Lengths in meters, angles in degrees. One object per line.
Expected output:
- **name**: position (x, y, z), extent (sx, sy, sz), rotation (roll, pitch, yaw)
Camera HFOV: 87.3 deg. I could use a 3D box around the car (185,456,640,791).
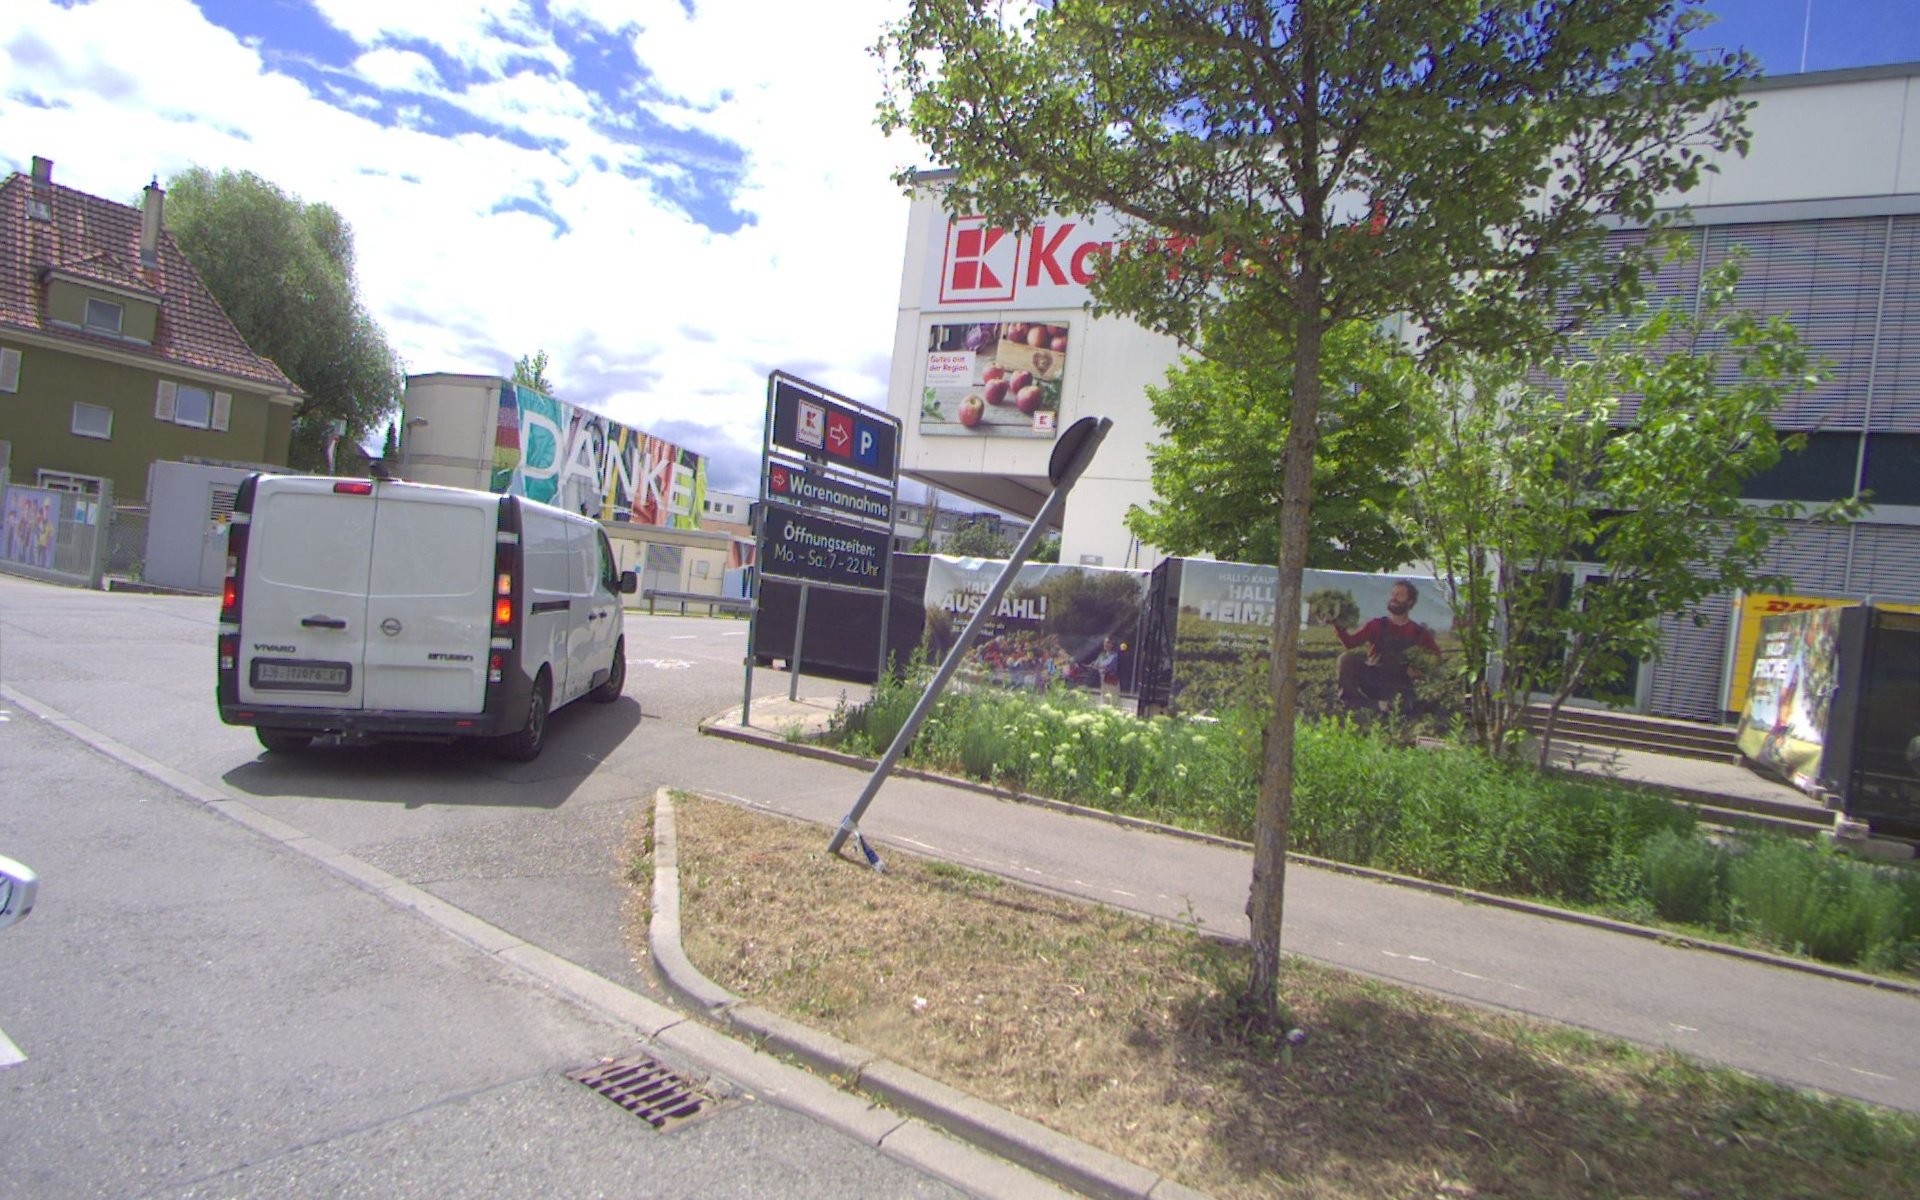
- **car**: position (-4.223, 0.122, 8.804), extent (1.912, 1.986, 4.823), rotation (5, 1, -10)
